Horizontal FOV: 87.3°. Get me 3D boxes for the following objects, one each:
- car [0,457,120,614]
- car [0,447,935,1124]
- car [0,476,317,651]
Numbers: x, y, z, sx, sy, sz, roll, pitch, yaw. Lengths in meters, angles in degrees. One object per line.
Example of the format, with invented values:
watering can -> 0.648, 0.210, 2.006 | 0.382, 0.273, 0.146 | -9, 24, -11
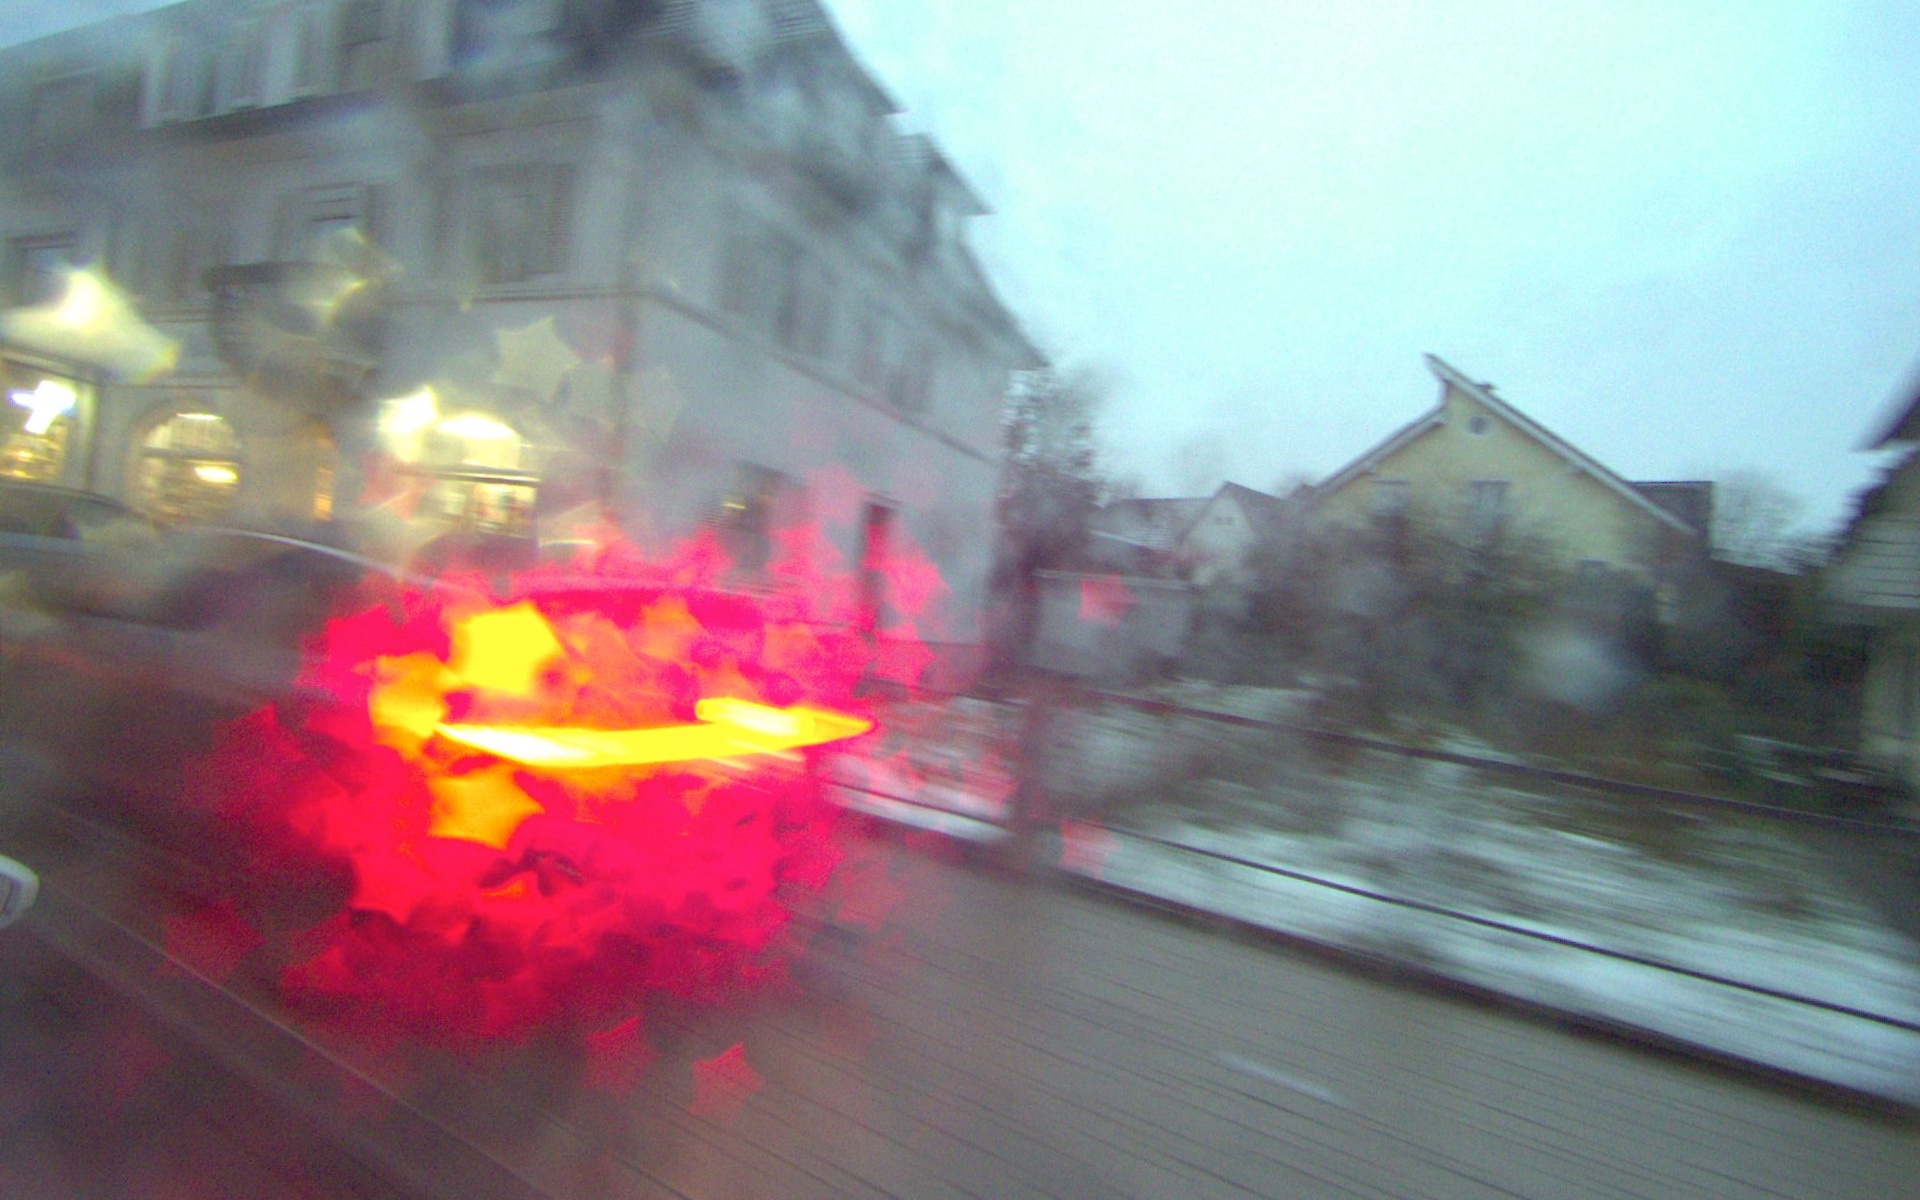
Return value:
car -> -11.474, -0.820, 10.642 | 1.684, 1.702, 3.512 | 7, 1, 22
car -> -2.625, 0.320, 4.431 | 4.591, 1.566, 1.885 | 7, 1, 29
car -> -8.893, -0.393, 9.406 | 1.864, 1.492, 4.475 | 7, 1, 26
